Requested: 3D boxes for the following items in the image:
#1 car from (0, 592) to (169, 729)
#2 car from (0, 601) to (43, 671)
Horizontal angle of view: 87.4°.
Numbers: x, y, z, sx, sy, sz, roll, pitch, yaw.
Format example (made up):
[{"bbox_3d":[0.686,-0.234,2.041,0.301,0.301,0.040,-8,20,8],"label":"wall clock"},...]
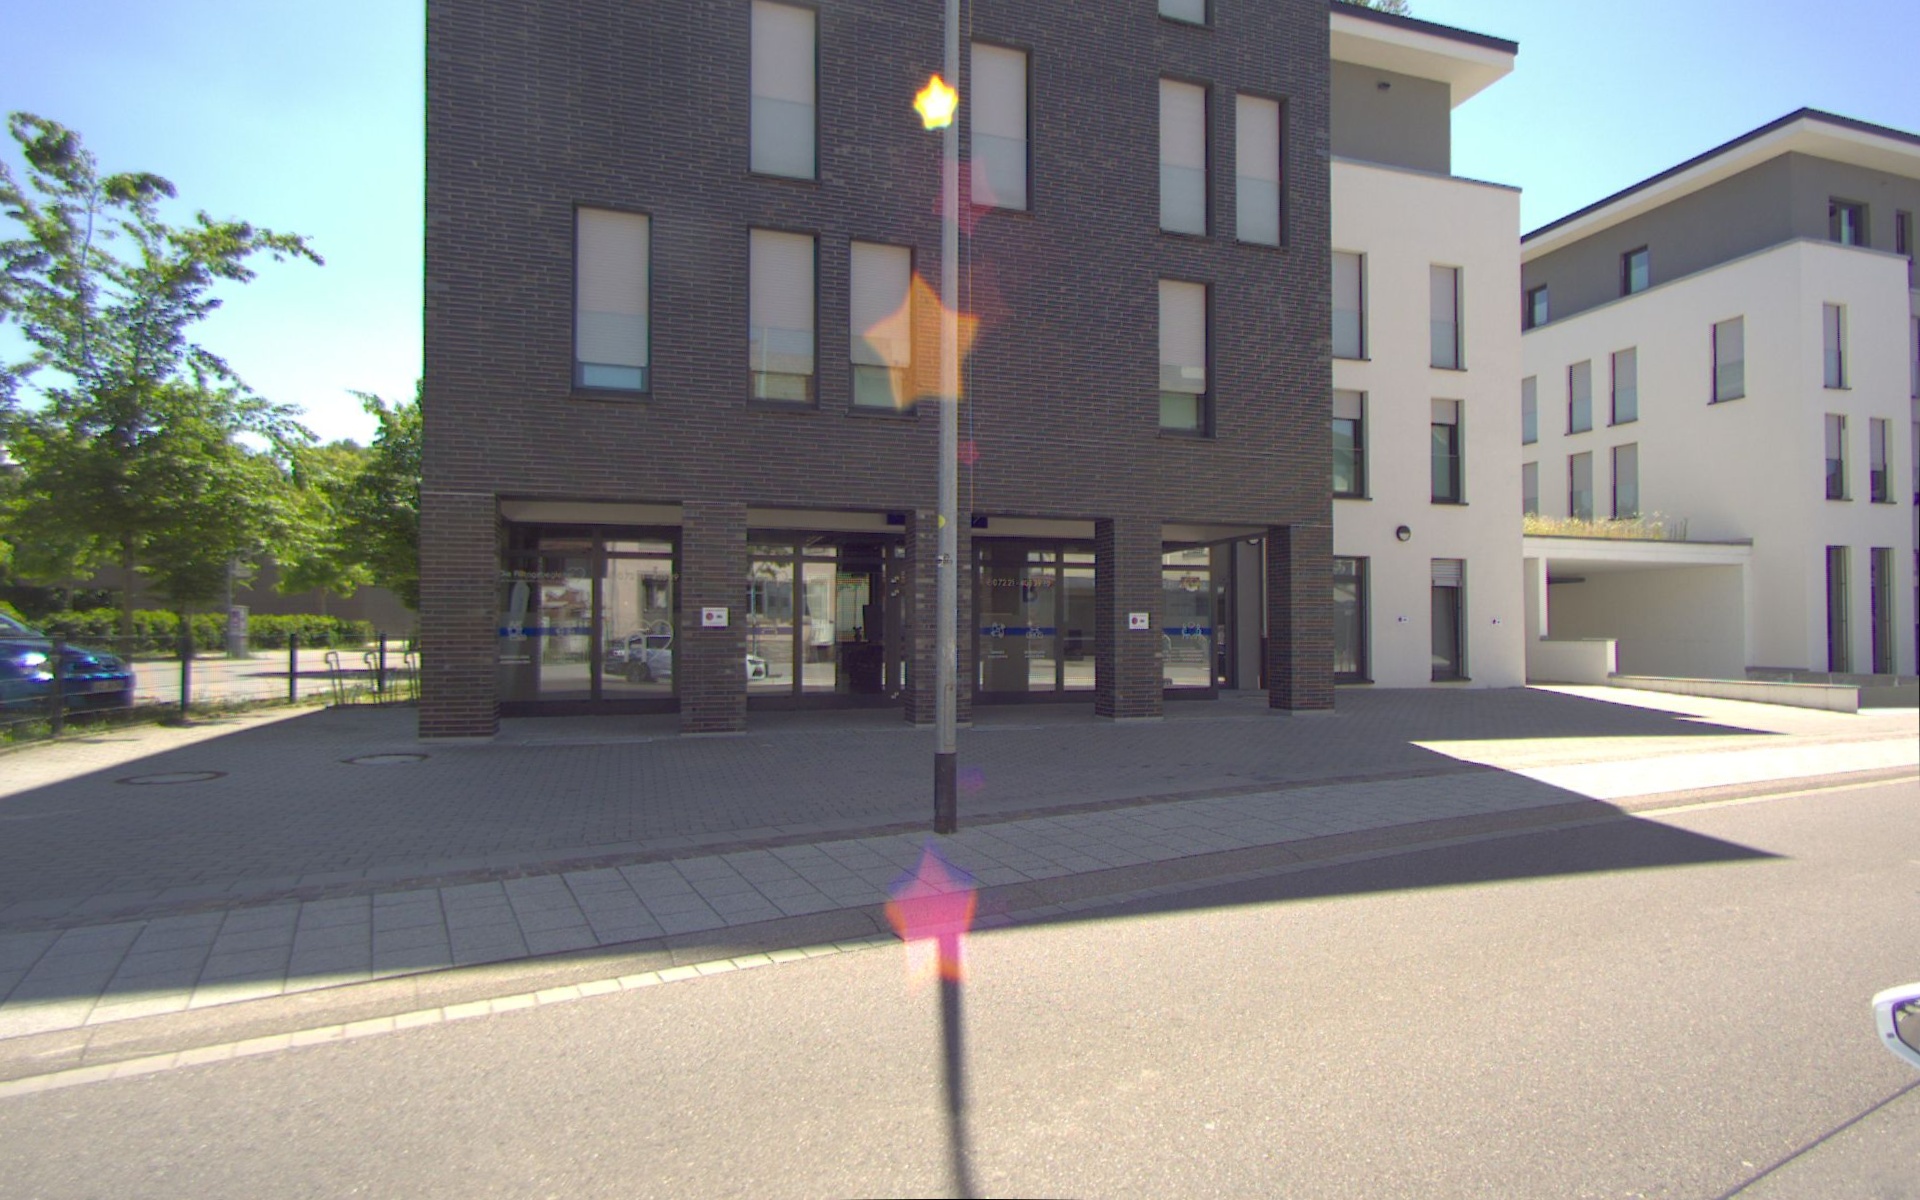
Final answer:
[{"bbox_3d":[-11.998,0.685,11.734,4.003,1.505,1.699,1,-2,-6],"label":"car"},{"bbox_3d":[-22.630,0.769,21.864,3.693,1.511,1.691,1,-1,-2],"label":"car"}]
